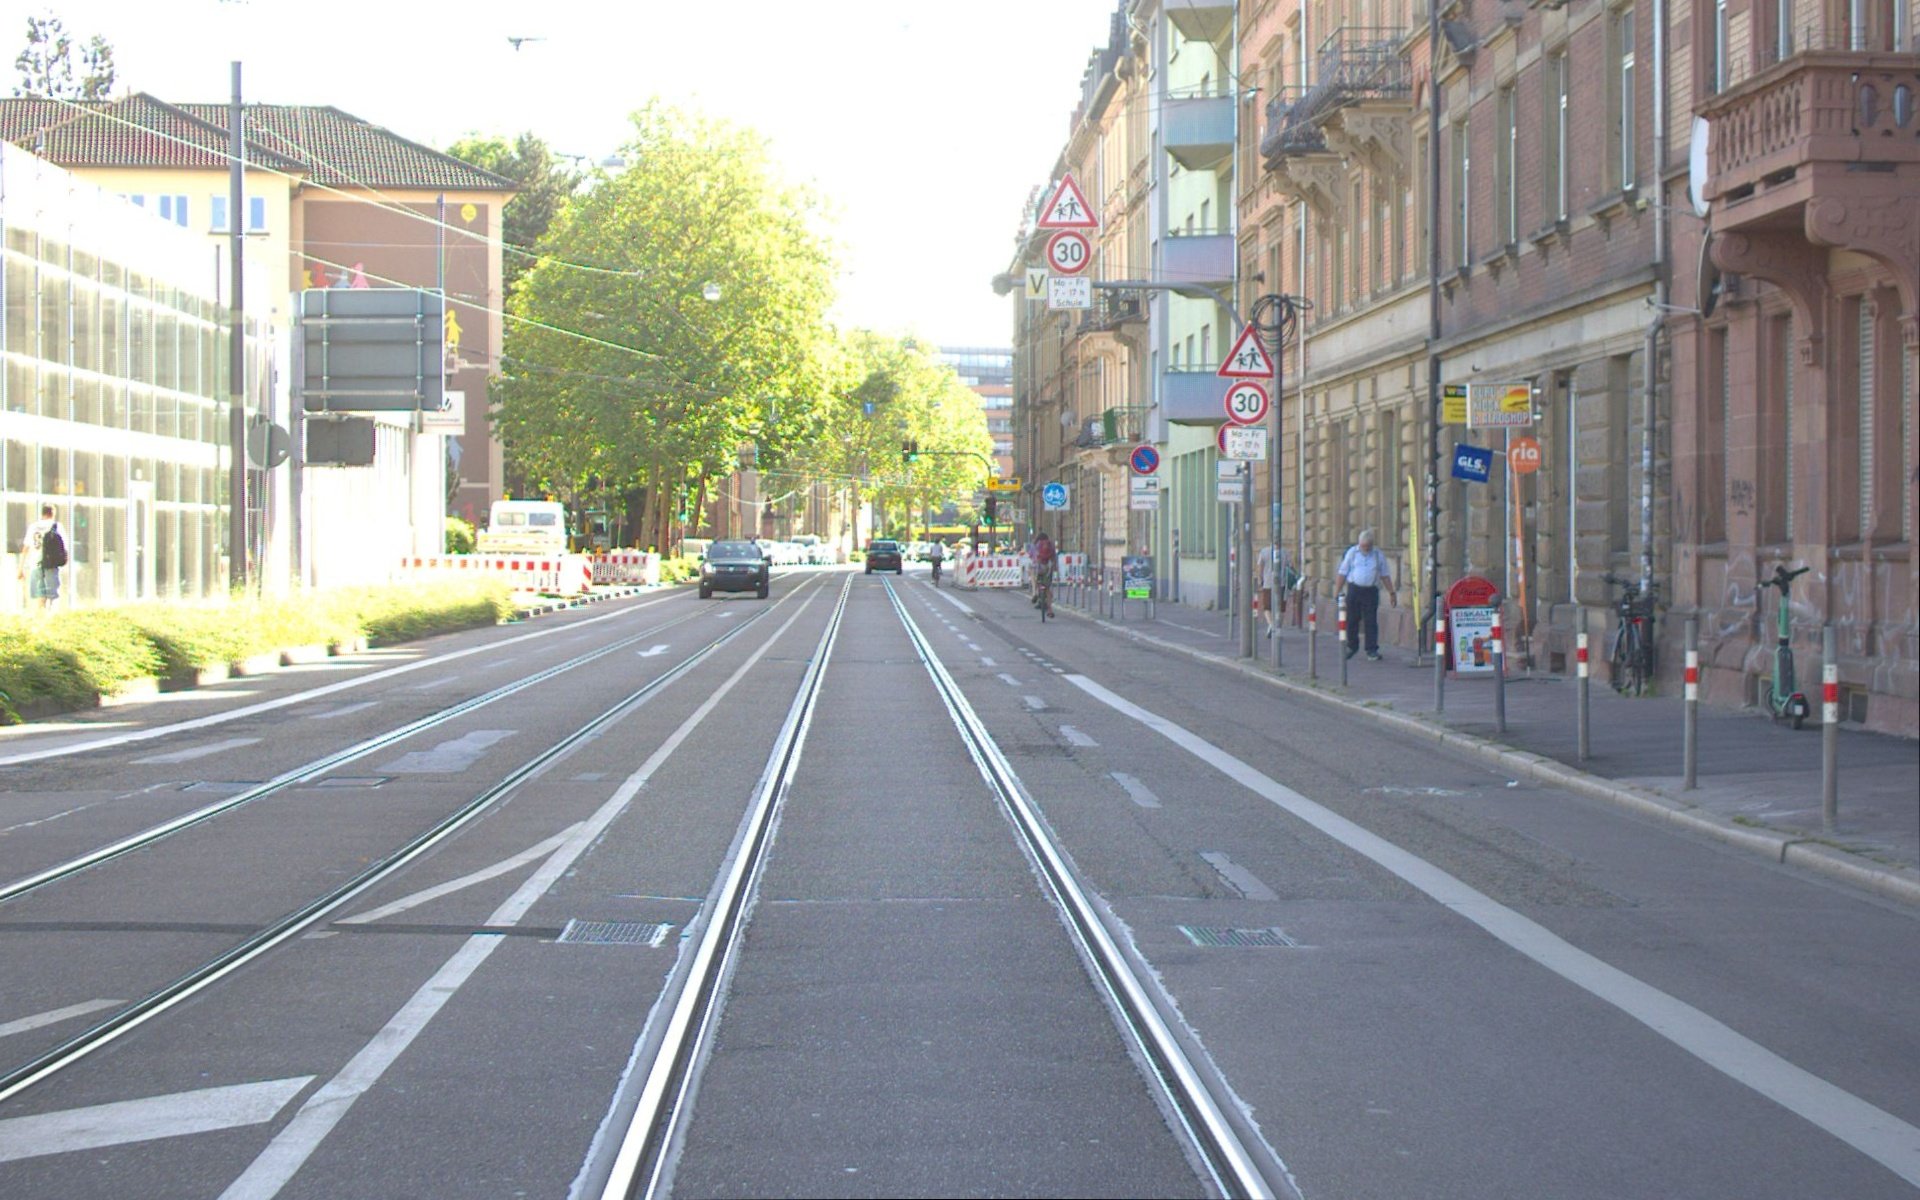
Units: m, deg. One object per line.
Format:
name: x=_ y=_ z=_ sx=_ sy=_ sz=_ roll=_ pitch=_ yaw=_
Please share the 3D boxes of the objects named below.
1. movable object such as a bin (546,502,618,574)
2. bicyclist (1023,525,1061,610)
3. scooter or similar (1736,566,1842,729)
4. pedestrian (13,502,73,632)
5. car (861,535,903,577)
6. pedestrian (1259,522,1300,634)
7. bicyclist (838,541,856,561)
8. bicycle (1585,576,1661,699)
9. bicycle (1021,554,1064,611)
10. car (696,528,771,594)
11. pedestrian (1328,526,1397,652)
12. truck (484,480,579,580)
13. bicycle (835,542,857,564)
movable object such as a bin: x=-14.689 y=-2.407 z=133.949 sx=2.495 sy=2.636 sz=5.990 roll=2 pitch=1 yaw=-4
bicyclist: x=1.654 y=-0.658 z=69.691 sx=0.667 sy=1.691 sz=1.043 roll=2 pitch=0 yaw=-2
scooter or similar: x=6.352 y=0.349 z=26.388 sx=0.406 sy=1.207 sz=1.480 roll=-1 pitch=0 yaw=-1
pedestrian: x=-12.682 y=-0.456 z=47.566 sx=0.526 sy=1.759 sz=1.051 roll=2 pitch=0 yaw=-2
car: x=-3.862 y=-2.178 z=170.478 sx=1.993 sy=2.007 sz=4.000 roll=2 pitch=0 yaw=-1
pedestrian: x=4.907 y=-0.332 z=52.770 sx=0.553 sy=1.695 sz=0.474 roll=-2 pitch=0 yaw=3
bicyclist: x=-8.470 y=-3.661 z=257.685 sx=1.078 sy=1.423 sz=1.146 roll=2 pitch=0 yaw=7
bicycle: x=6.253 y=0.338 z=32.494 sx=0.410 sy=1.117 sz=1.898 roll=-1 pitch=0 yaw=3
bicycle: x=1.654 y=-0.362 z=69.577 sx=0.681 sy=1.110 sz=2.707 roll=2 pitch=1 yaw=-2
car: x=-6.153 y=-1.050 z=93.718 sx=1.759 sy=1.691 sz=4.144 roll=2 pitch=0 yaw=0
pedestrian: x=5.154 y=-0.142 z=44.052 sx=0.798 sy=1.599 sz=0.652 roll=0 pitch=0 yaw=1
truck: x=-12.782 y=-2.049 z=102.949 sx=2.537 sy=2.820 sz=6.377 roll=2 pitch=0 yaw=-5
bicycle: x=-8.555 y=-3.498 z=257.792 sx=1.234 sy=1.567 sz=2.896 roll=2 pitch=0 yaw=6
